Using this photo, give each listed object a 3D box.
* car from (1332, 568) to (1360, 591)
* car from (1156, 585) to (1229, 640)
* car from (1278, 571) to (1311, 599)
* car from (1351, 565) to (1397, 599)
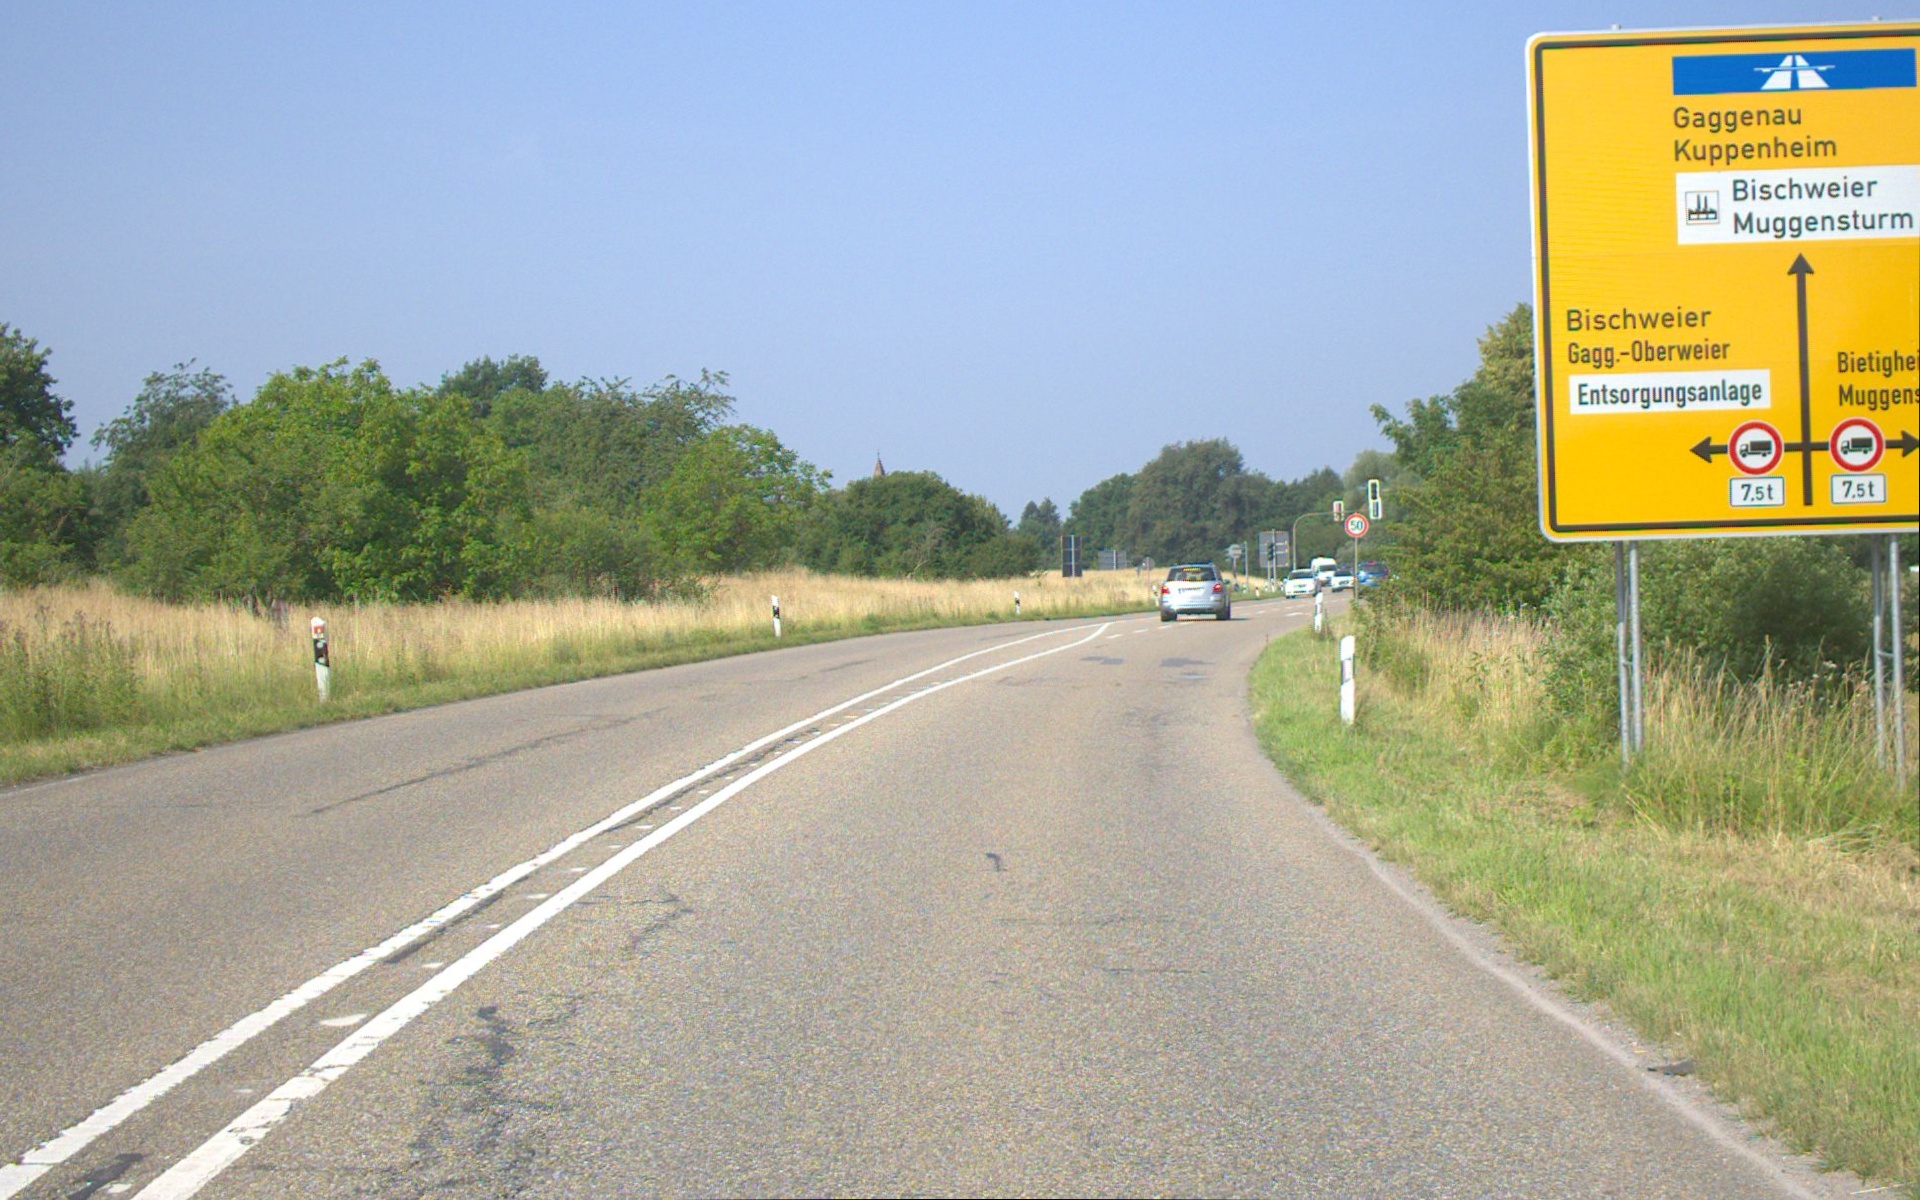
[{"bbox_3d":[28.835,-1.506,256.660,1.836,1.688,3.857,0,0,11],"label":"car"},{"bbox_3d":[6.724,0.333,99.007,1.899,1.507,3.999,1,0,6],"label":"car"},{"bbox_3d":[19.125,-0.857,196.275,1.812,1.579,4.223,1,0,6],"label":"car"},{"bbox_3d":[18.941,-0.831,157.189,1.817,1.515,3.998,-1,0,10],"label":"car"}]
